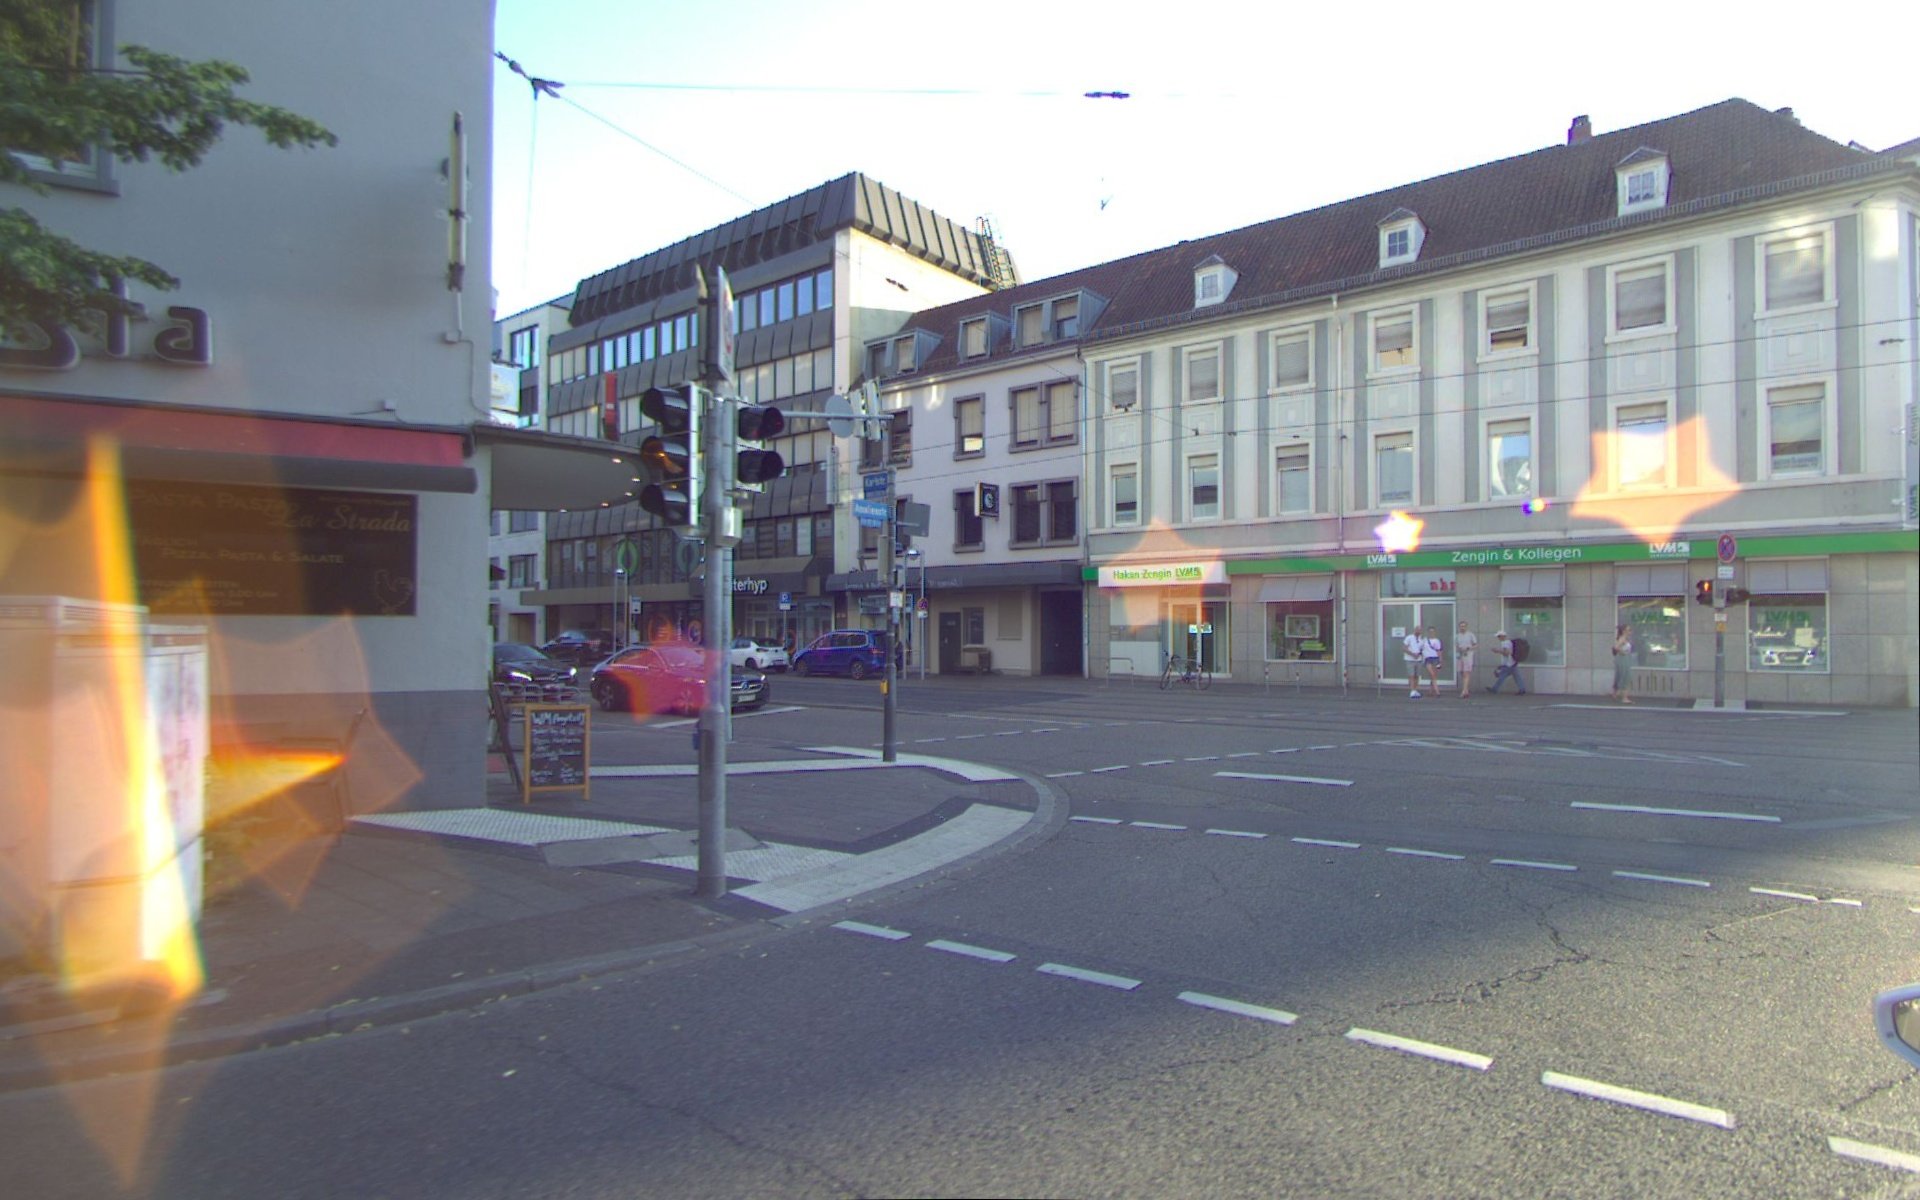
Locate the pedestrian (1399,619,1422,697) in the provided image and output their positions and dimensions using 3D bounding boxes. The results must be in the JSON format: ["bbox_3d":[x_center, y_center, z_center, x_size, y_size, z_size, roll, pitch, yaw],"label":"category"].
[{"bbox_3d":[11.464,1.455,25.560,0.487,1.954,0.575,-1,-2,27],"label":"pedestrian"}]

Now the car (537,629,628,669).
[{"bbox_3d":[-17.911,2.289,47.515,4.599,1.758,1.981,-2,0,39],"label":"car"}]

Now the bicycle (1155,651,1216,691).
[{"bbox_3d":[6.379,1.994,28.466,1.621,1.104,0.477,-2,-1,36],"label":"bicycle"}]

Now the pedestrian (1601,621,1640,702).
[{"bbox_3d":[14.998,1.387,22.812,0.638,1.802,0.669,-1,-2,40],"label":"pedestrian"}]

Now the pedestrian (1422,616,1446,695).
[{"bbox_3d":[11.955,1.382,25.339,0.520,1.954,0.639,-1,-2,27],"label":"pedestrian"}]

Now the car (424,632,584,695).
[{"bbox_3d":[-11.679,1.562,25.605,4.494,1.405,1.912,-2,0,39],"label":"car"}]

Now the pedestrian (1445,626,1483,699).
[{"bbox_3d":[12.486,1.527,24.895,0.689,1.768,0.637,-1,-2,40],"label":"pedestrian"}]

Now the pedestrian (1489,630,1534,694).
[{"bbox_3d":[13.782,1.542,25.096,0.857,1.569,0.696,-1,-2,41],"label":"pedestrian"}]

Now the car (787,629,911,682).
[{"bbox_3d":[-4.084,1.969,36.583,4.494,1.740,1.912,-2,0,39],"label":"car"}]

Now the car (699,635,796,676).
[{"bbox_3d":[-8.528,2.195,40.159,3.812,1.505,1.764,-2,0,38],"label":"car"}]

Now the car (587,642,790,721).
[{"bbox_3d":[-5.838,1.638,21.339,4.494,1.405,1.912,-2,0,39],"label":"car"}]
